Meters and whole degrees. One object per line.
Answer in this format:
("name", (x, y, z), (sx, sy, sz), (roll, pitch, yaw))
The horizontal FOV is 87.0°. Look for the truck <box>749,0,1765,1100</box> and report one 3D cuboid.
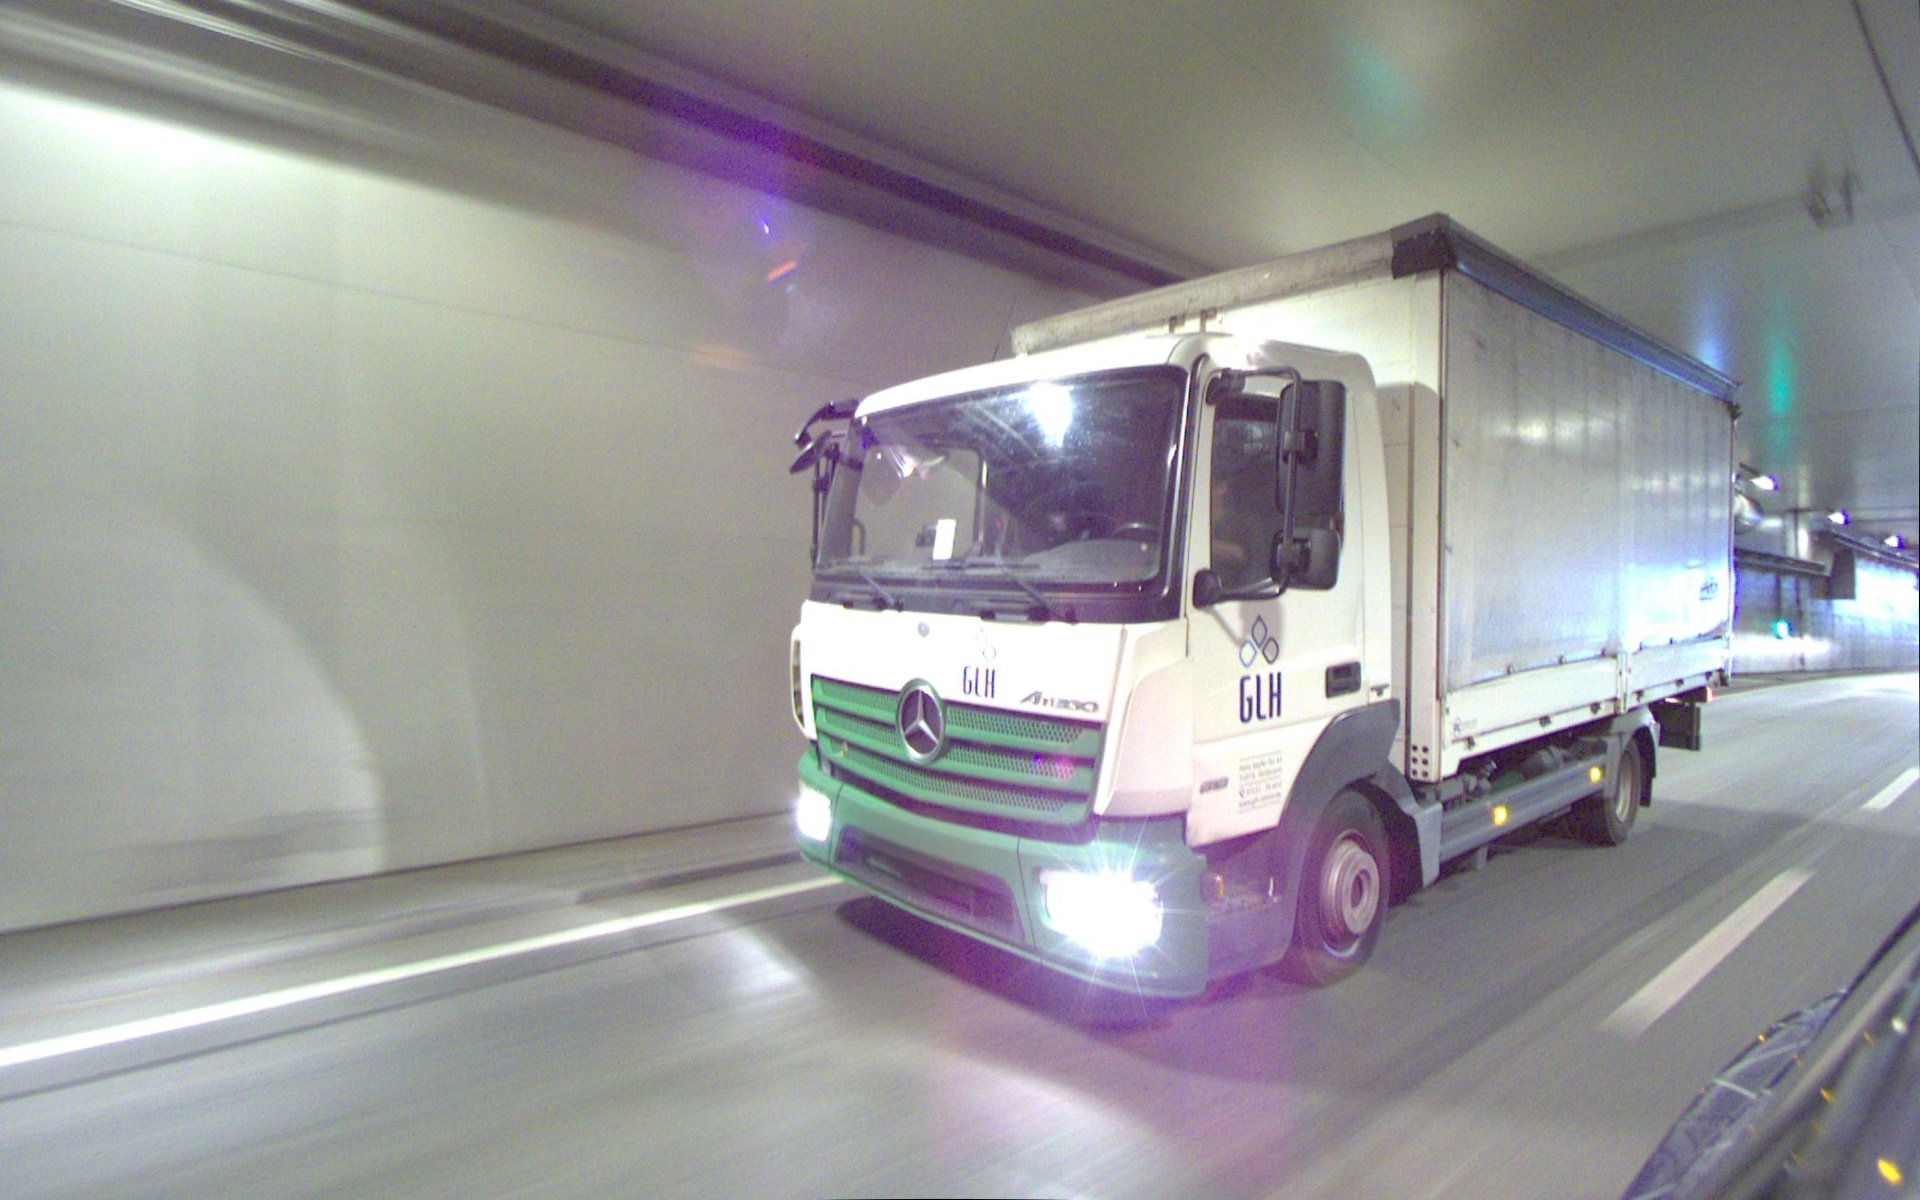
("truck", (2.503, -0.184, 6.213), (7.118, 3.221, 2.558), (0, 0, -41))
